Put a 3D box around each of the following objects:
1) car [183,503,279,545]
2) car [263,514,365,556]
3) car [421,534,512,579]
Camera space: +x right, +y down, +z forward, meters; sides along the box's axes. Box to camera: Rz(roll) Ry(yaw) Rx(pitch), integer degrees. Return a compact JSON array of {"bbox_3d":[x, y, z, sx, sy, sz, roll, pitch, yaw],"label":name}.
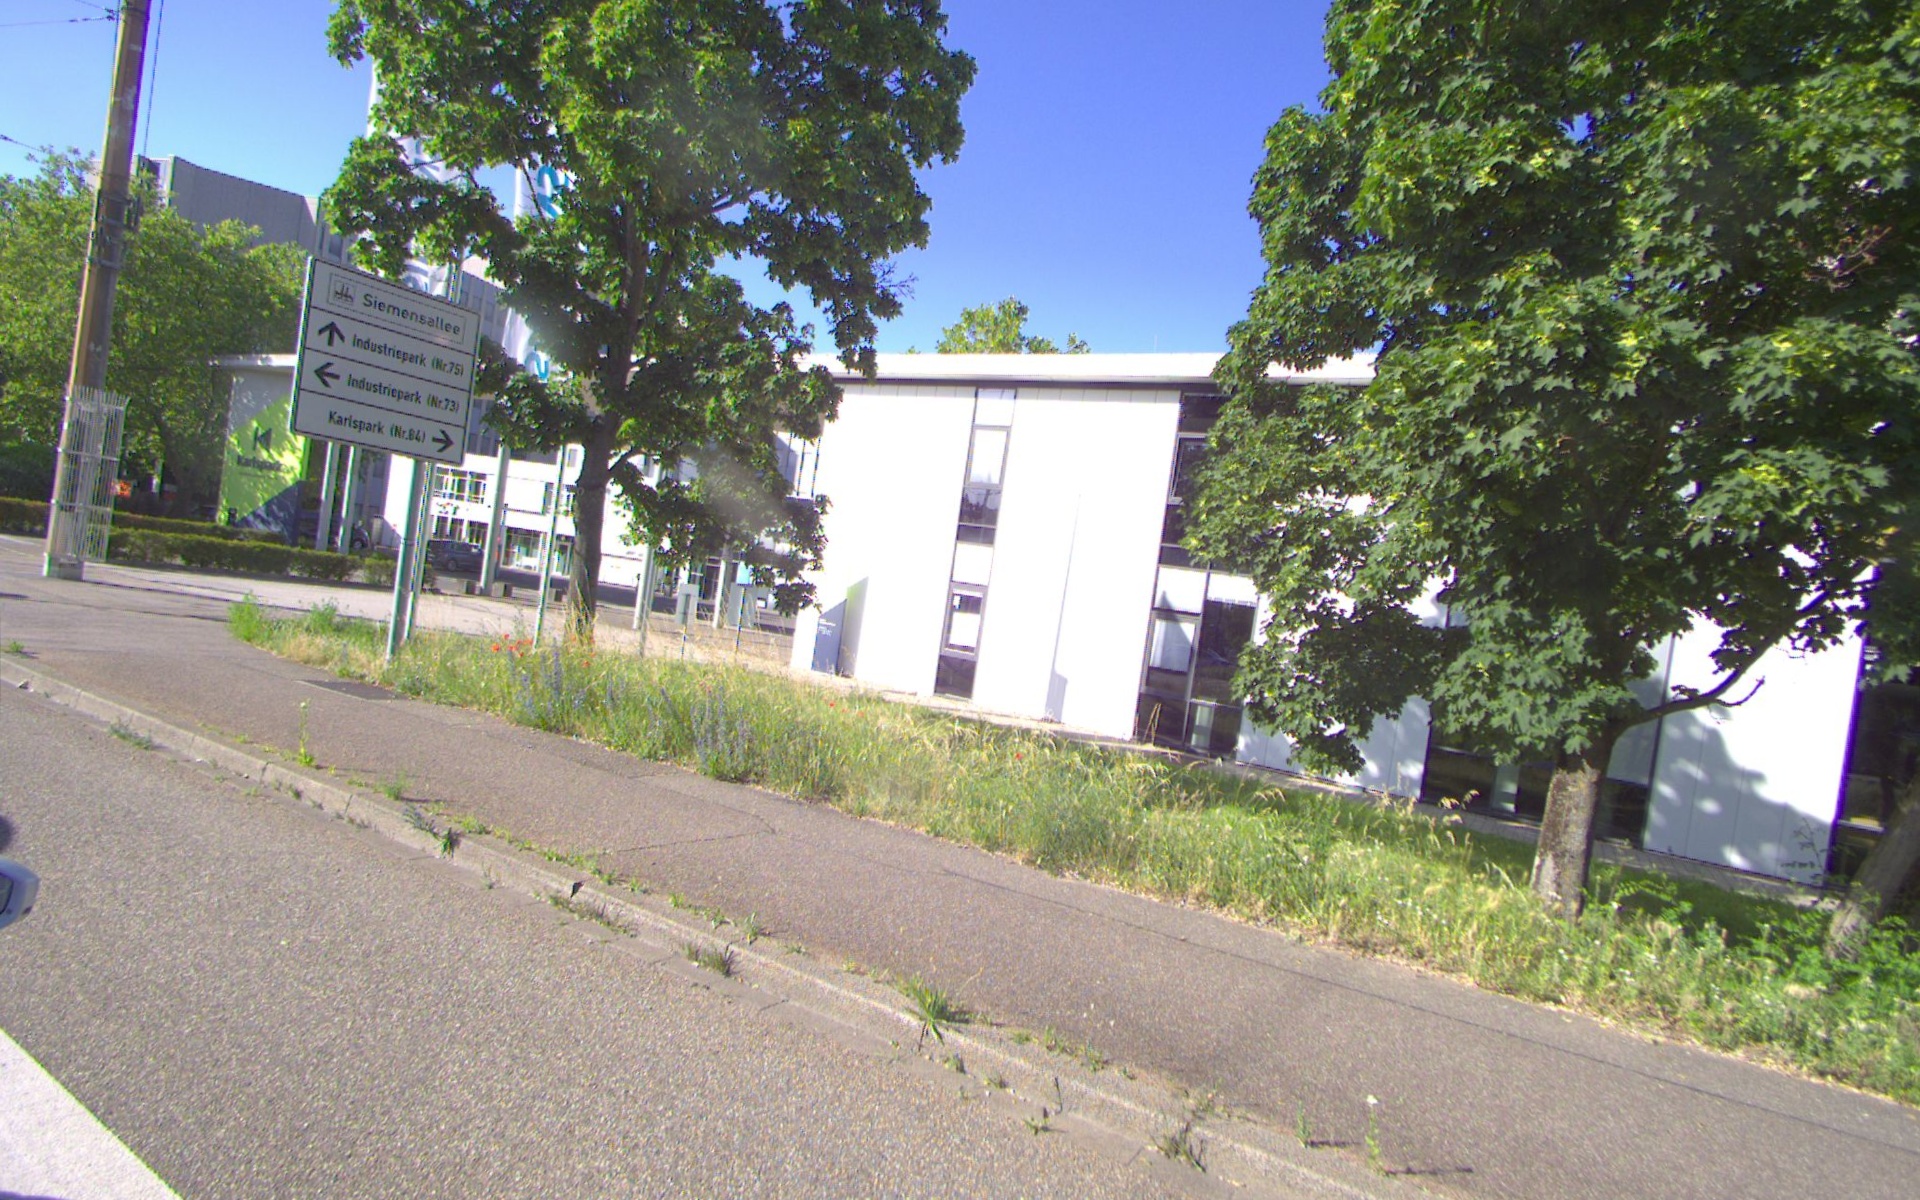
[{"bbox_3d":[-42.760,-4.431,59.109,1.963,1.778,4.002,7,-1,19],"label":"car"},{"bbox_3d":[-36.218,-3.632,56.556,1.841,1.649,4.553,7,-1,19],"label":"car"},{"bbox_3d":[-26.292,-2.281,53.712,1.865,1.741,4.001,8,-1,22],"label":"car"}]
